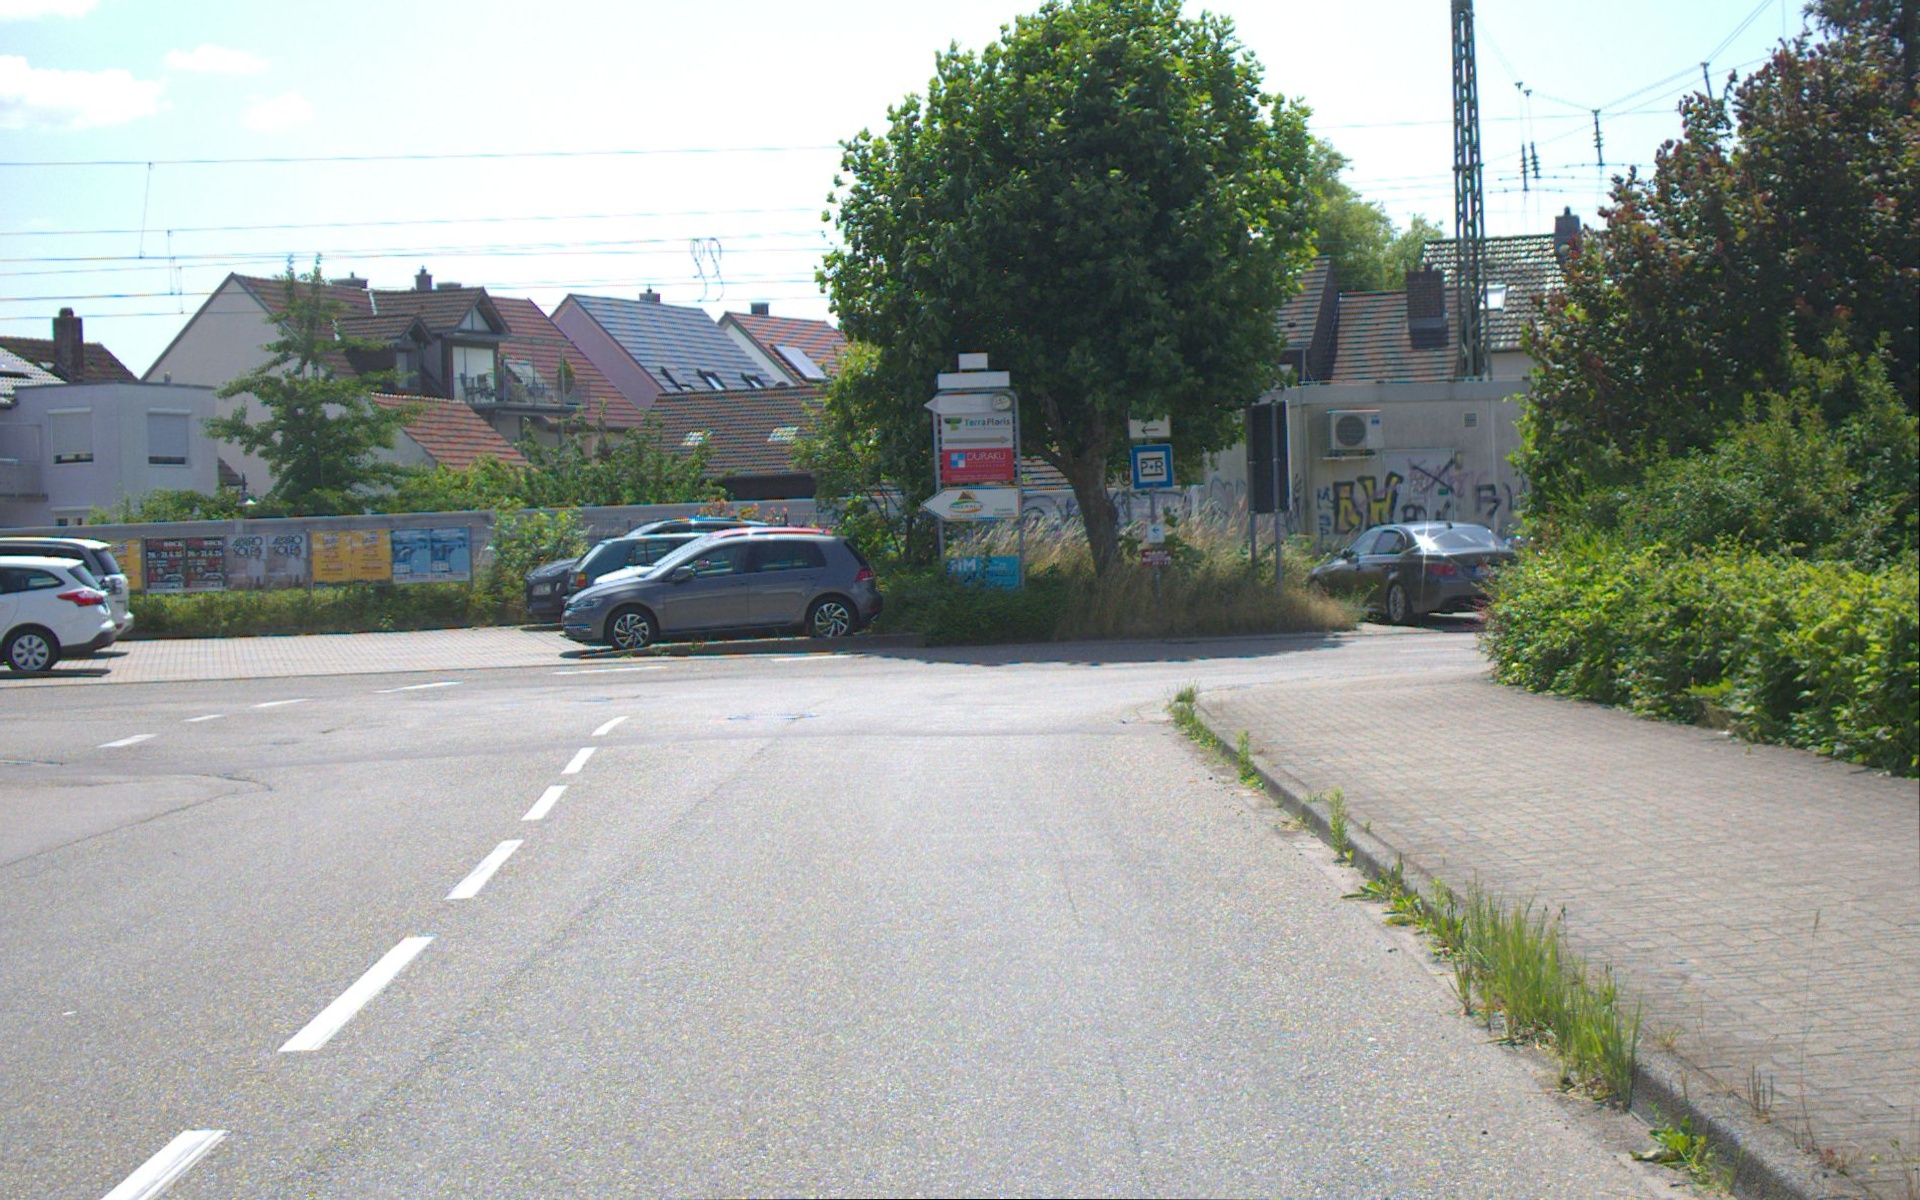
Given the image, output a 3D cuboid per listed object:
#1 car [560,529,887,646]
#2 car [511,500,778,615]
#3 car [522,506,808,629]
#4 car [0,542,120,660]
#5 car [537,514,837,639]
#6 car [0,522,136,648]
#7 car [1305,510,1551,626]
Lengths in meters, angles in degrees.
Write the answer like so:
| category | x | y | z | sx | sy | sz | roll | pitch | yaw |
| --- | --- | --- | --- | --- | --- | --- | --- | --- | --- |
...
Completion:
| category | x | y | z | sx | sy | sz | roll | pitch | yaw |
| --- | --- | --- | --- | --- | --- | --- | --- | --- | --- |
| car | -3.160 | -0.171 | 45.568 | 4.186 | 1.458 | 1.665 | -1 | 0 | -8 |
| car | -4.887 | -0.645 | 53.093 | 3.986 | 1.724 | 1.771 | 0 | 0 | -9 |
| car | -4.361 | -0.487 | 50.529 | 3.986 | 1.652 | 2.001 | -2 | 1 | -9 |
| car | -12.928 | 0.001 | 43.734 | 4.281 | 1.472 | 1.828 | 0 | 0 | -12 |
| car | -3.818 | -0.328 | 47.817 | 3.986 | 1.581 | 1.780 | -2 | 0 | -9 |
| car | -13.974 | -0.209 | 48.331 | 4.451 | 1.685 | 2.001 | -1 | 2 | -8 |
| car | 6.583 | -0.487 | 48.773 | 1.751 | 1.381 | 4.002 | -1 | 4 | -20 |
